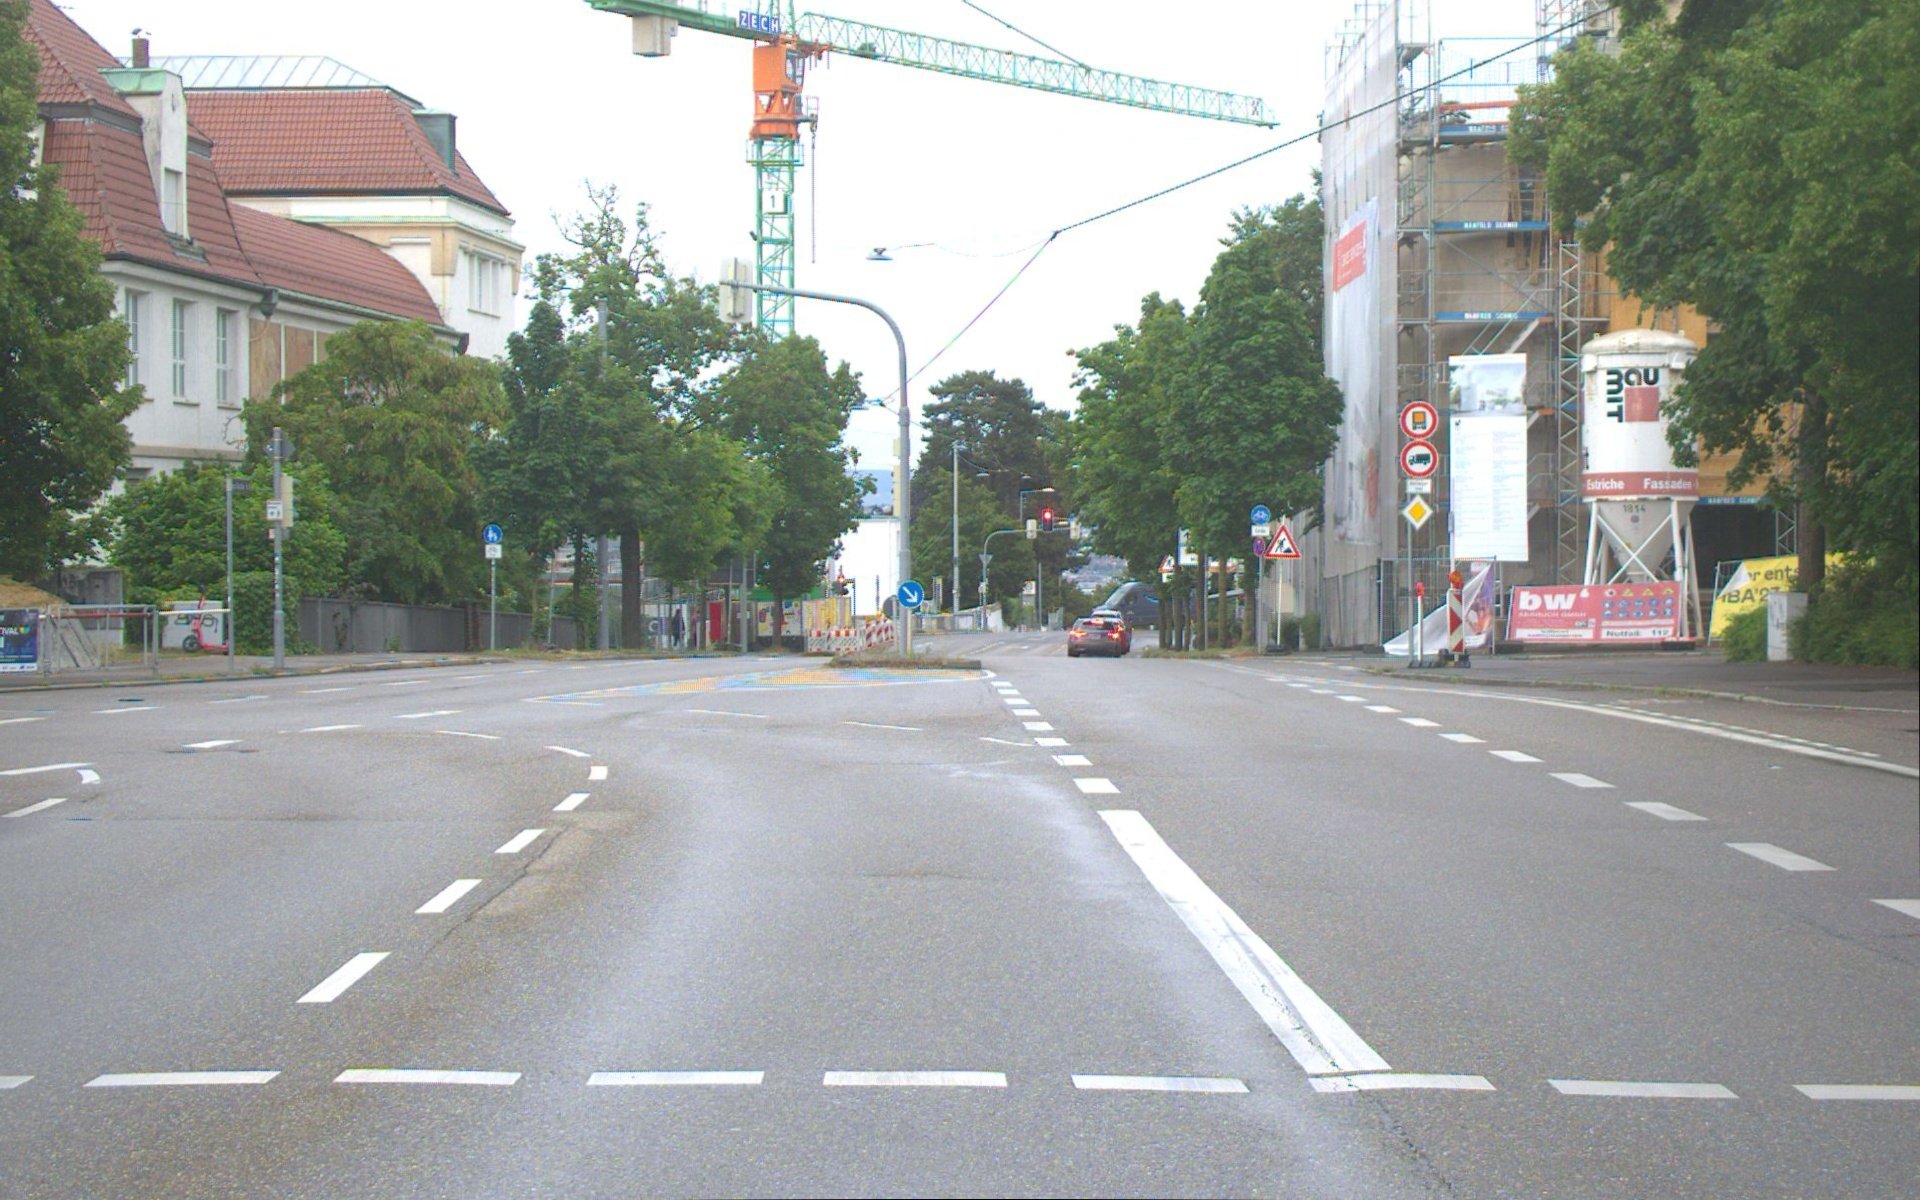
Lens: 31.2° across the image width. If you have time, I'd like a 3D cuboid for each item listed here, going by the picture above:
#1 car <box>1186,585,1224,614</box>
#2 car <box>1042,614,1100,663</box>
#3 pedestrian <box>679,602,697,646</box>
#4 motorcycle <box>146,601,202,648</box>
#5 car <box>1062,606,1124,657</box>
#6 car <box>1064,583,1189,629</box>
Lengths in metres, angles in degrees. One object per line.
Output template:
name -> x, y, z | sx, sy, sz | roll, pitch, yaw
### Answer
car -> 15.649, -0.039, 219.343 | 1.994, 1.744, 3.998 | -1, 1, 11
car -> 4.228, 1.442, 131.047 | 1.993, 1.744, 4.000 | -1, 1, -1
pedestrian -> -10.127, 0.882, 128.024 | 0.494, 1.640, 0.533 | 1, 0, 10
motorcycle -> -14.845, 0.461, 64.954 | 0.849, 0.874, 0.877 | 1, 0, -1
car -> 4.803, 1.130, 124.859 | 1.993, 1.744, 4.000 | -1, 1, -1
car -> 8.900, 0.331, 183.678 | 6.168, 2.394, 2.857 | 0, 1, -35
